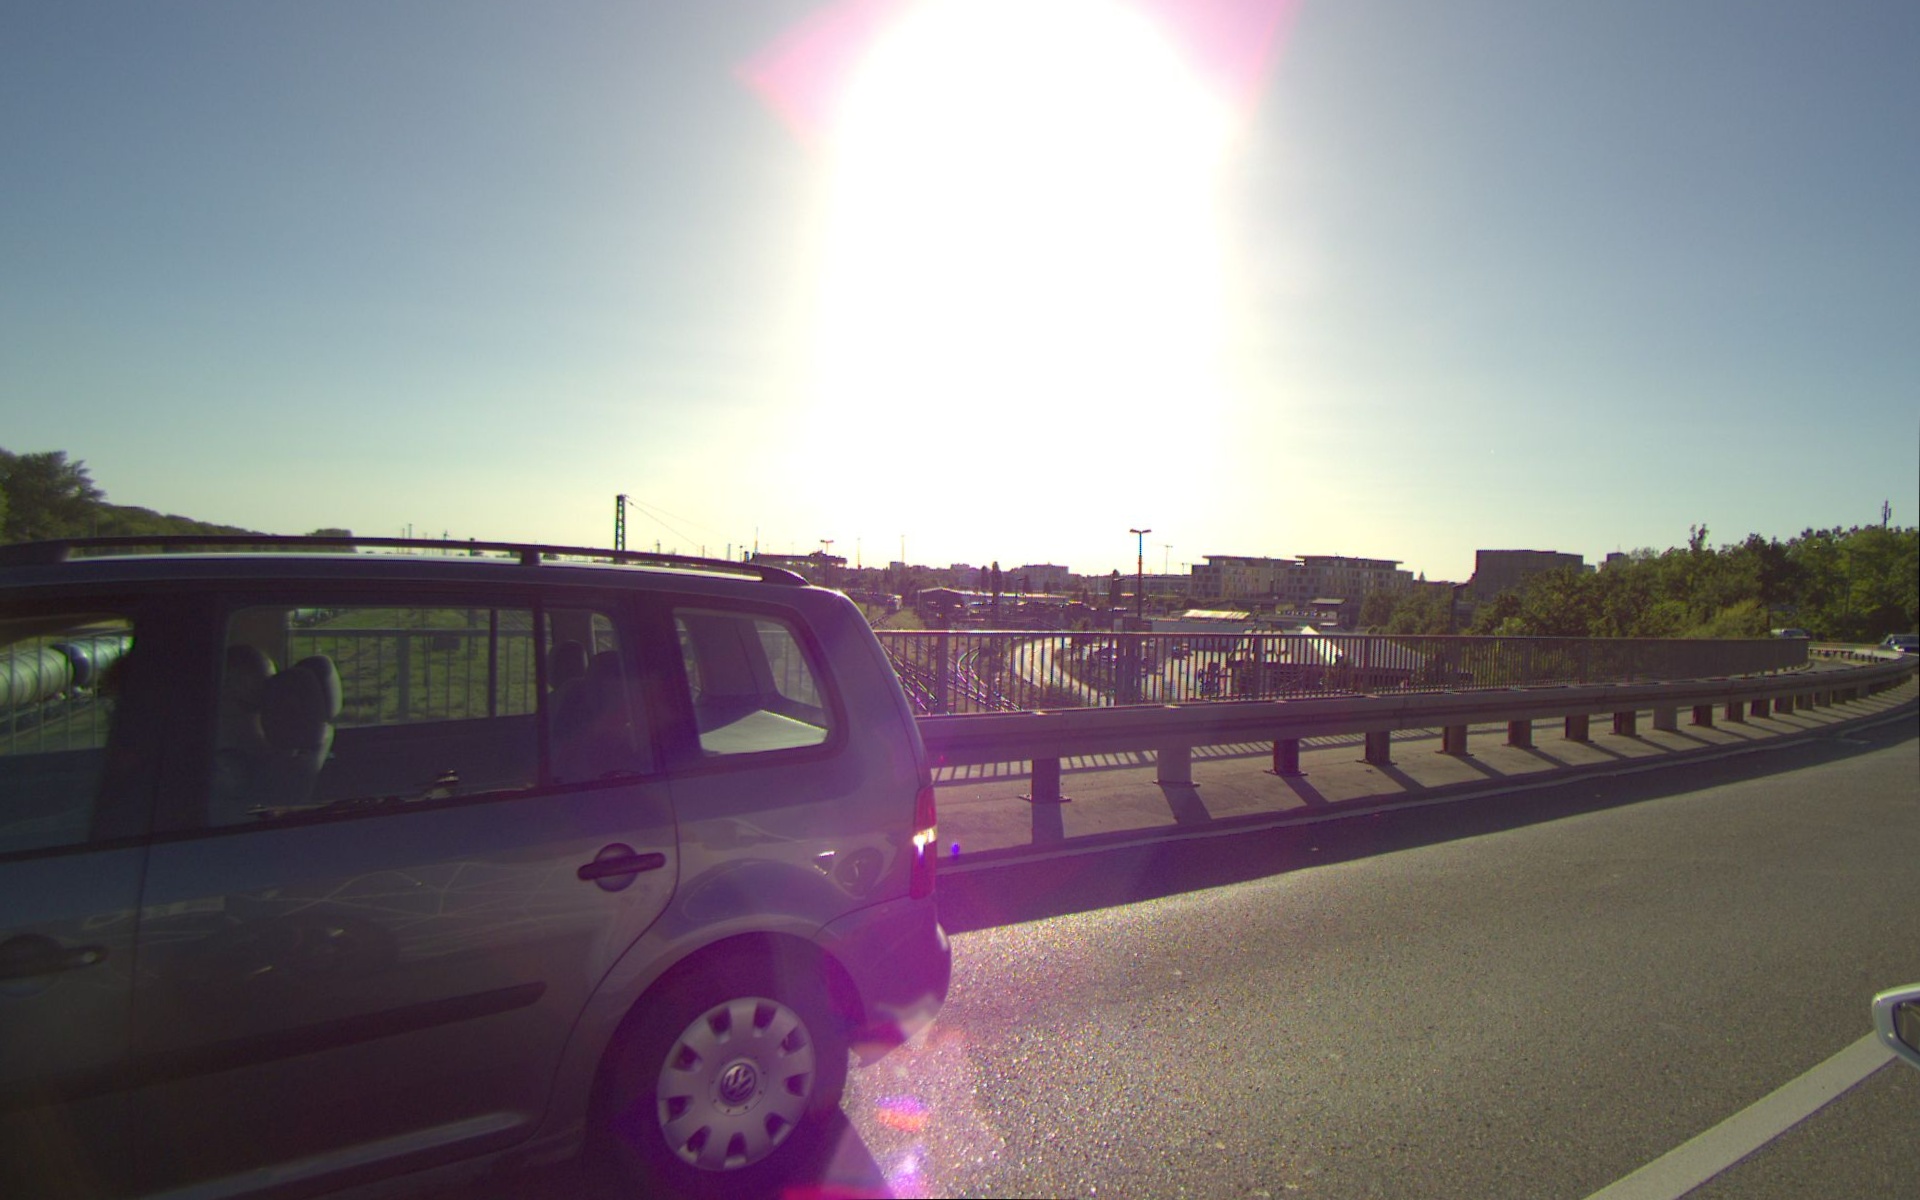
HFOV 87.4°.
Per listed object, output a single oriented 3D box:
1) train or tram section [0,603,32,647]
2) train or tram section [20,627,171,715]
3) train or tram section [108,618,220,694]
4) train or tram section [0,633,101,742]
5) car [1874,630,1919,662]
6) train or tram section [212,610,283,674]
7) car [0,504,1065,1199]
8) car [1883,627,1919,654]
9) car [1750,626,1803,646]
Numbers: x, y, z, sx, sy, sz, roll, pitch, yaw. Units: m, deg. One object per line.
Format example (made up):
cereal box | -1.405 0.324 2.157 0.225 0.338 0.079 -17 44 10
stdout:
train or tram section | -115.312 2.913 118.263 3.997 5.154 17.745 1 -1 -27
train or tram section | -59.869 4.634 70.275 3.854 5.083 16.260 1 -1 -26
train or tram section | -66.893 4.462 85.017 3.854 5.592 16.397 1 -1 -26
train or tram section | -52.764 4.565 55.465 3.854 5.083 16.558 1 -1 -26
car | 49.633 2.386 52.665 1.798 1.572 4.175 1 -1 32
train or tram section | -81.468 4.604 115.250 3.854 6.699 16.397 1 -1 -26
car | -1.902 0.663 2.702 4.054 1.645 1.840 1 -1 -30
car | 59.680 2.535 62.646 1.829 1.606 3.913 1 -1 22
car | 67.341 2.951 82.903 1.804 1.576 3.896 1 -1 13
